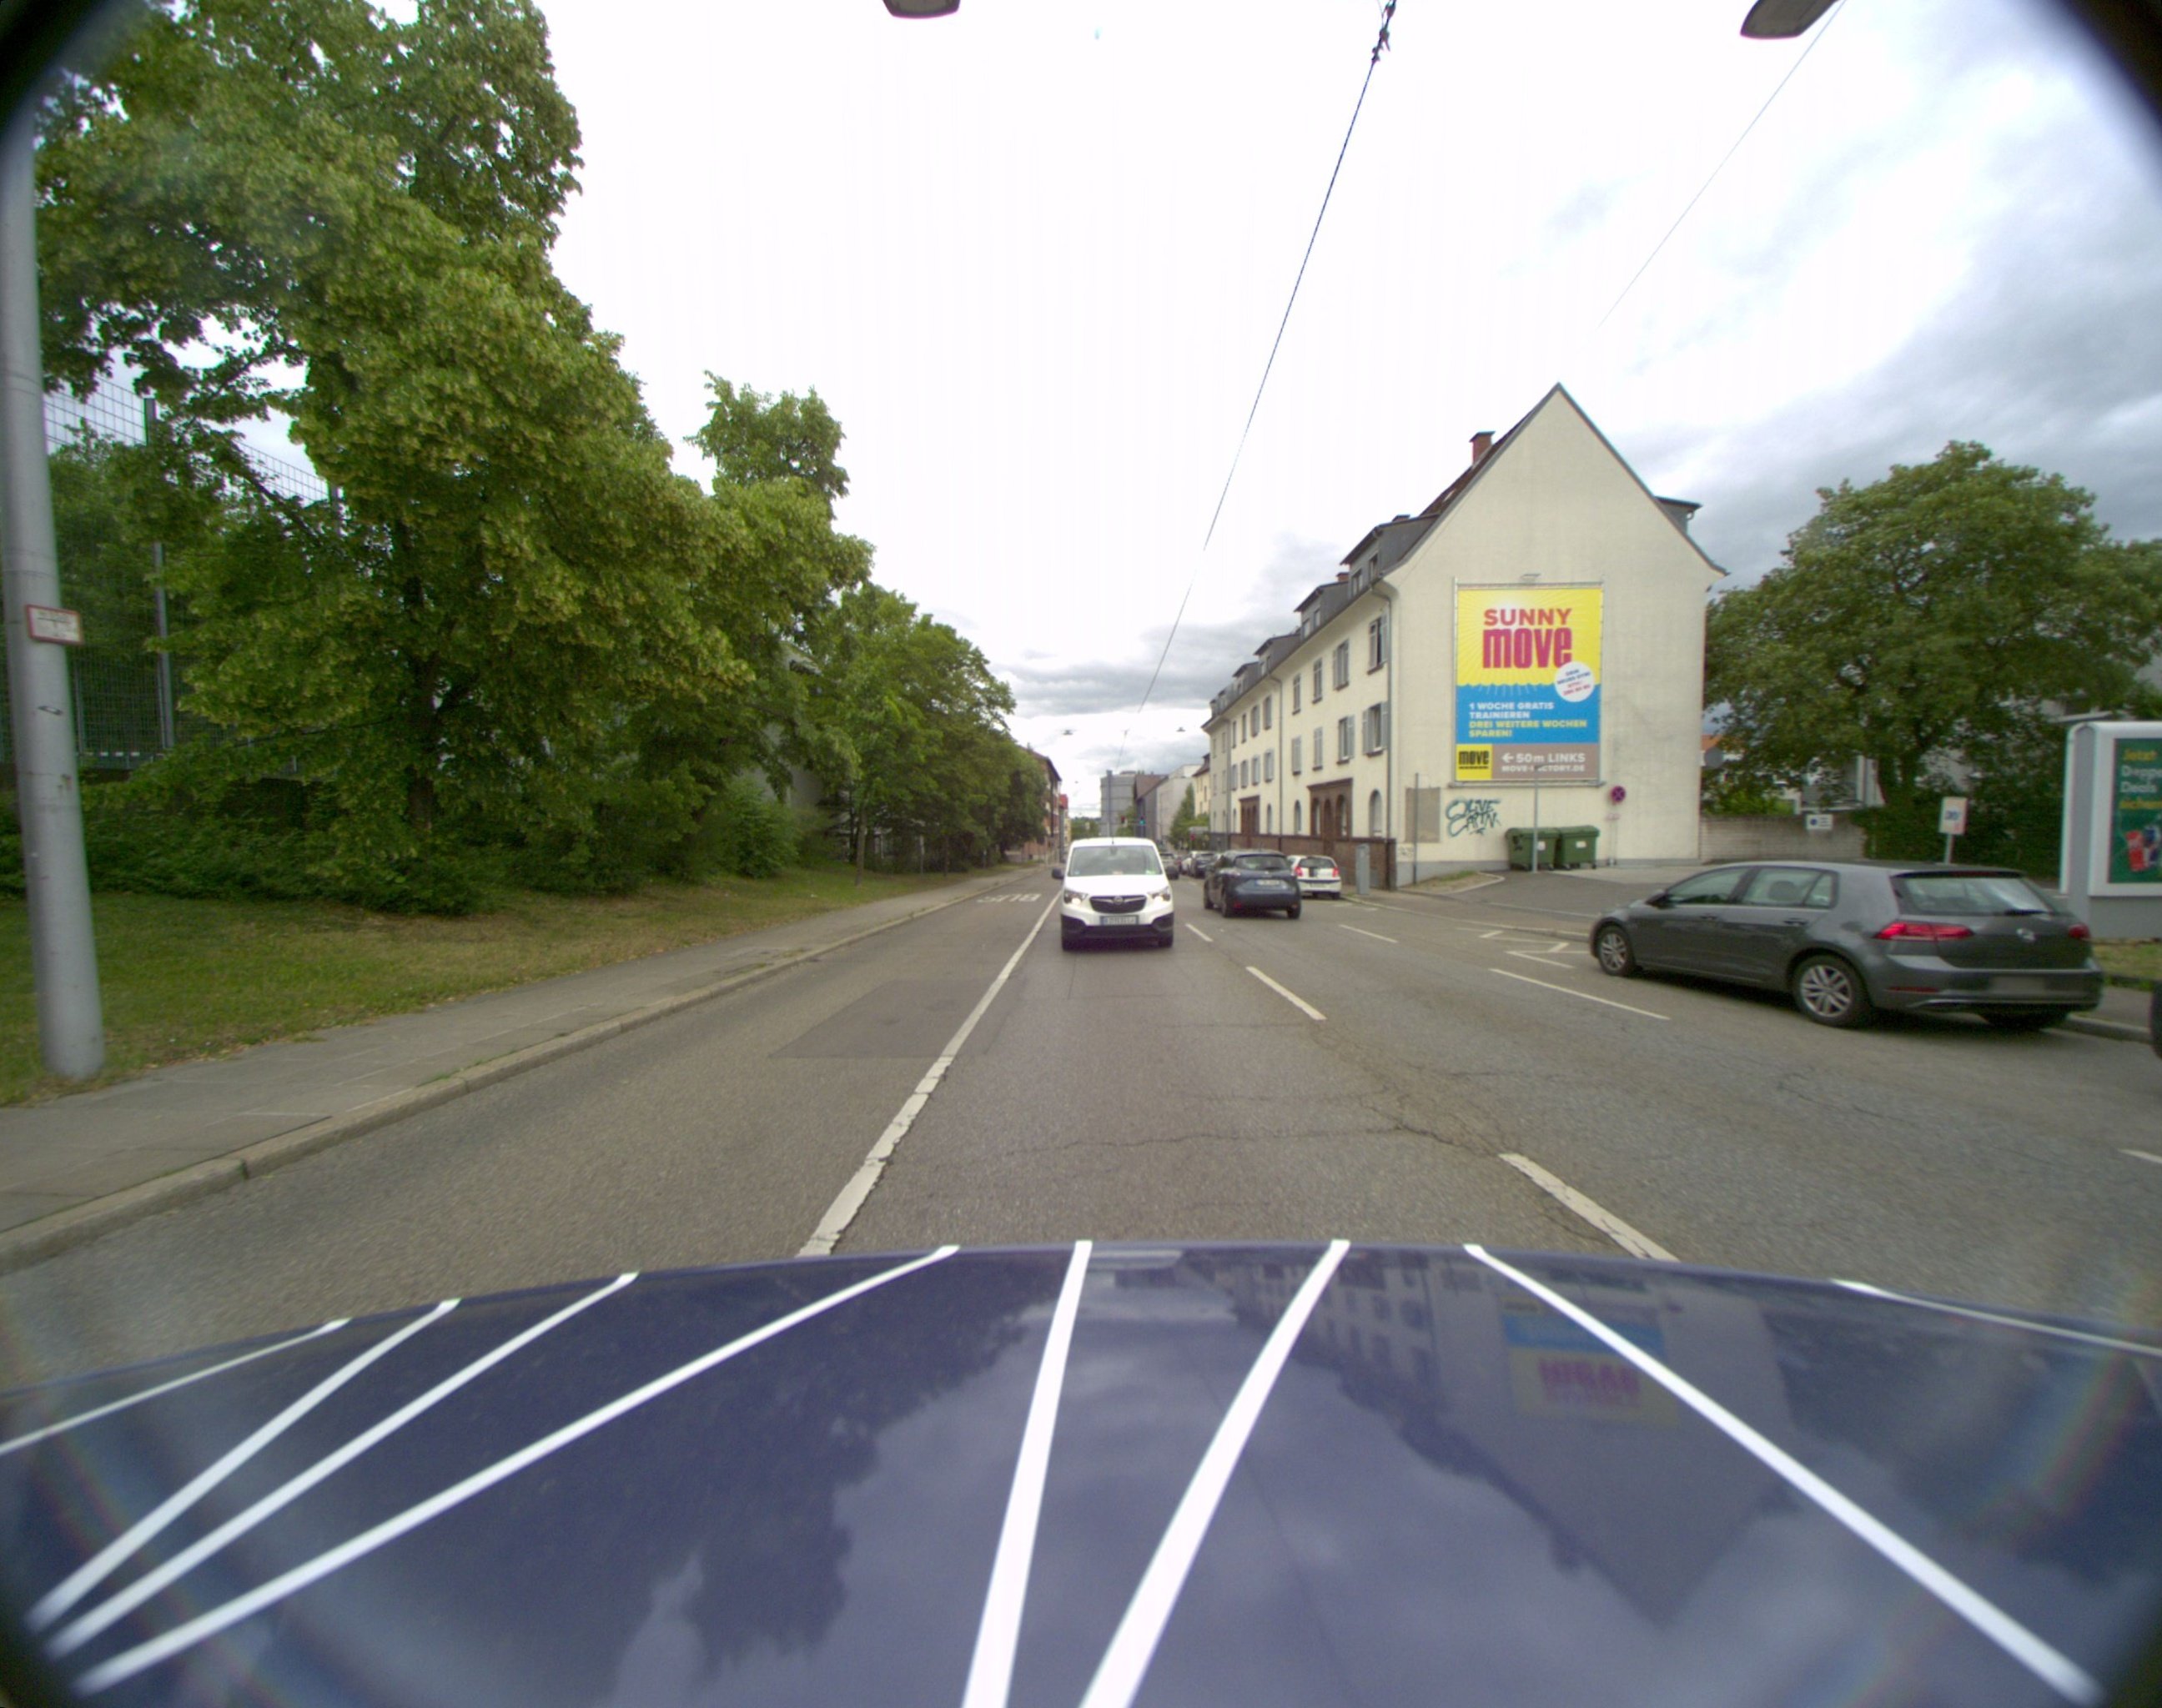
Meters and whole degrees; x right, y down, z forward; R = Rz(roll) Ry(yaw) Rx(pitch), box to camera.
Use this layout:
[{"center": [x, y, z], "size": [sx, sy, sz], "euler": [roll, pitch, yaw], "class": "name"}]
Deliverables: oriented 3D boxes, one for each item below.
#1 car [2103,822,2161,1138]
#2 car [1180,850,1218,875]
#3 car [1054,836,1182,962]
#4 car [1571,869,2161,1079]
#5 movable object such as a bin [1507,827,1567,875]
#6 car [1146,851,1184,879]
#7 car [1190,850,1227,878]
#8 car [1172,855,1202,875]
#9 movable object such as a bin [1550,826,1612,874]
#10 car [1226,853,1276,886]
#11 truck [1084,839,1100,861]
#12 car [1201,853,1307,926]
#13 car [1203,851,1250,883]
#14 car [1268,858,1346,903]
[{"center": [7.215, 0.747, 2.297], "size": [1.856, 1.824, 4.701], "euler": [0, 0, -1], "class": "car"}, {"center": [7.869, 0.569, 51.136], "size": [1.850, 1.612, 4.643], "euler": [0, 0, 0], "class": "car"}, {"center": [0.593, 0.712, 13.396], "size": [1.850, 1.831, 4.285], "euler": [-1, -1, 1], "class": "car"}, {"center": [7.246, 0.932, 7.749], "size": [1.795, 1.441, 4.218], "euler": [1, 0, 1], "class": "car"}, {"center": [14.938, -0.093, 24.937], "size": [1.268, 1.529, 1.104], "euler": [1, 1, 1], "class": "movable object such as a bin"}, {"center": [4.763, 0.599, 43.643], "size": [1.802, 1.516, 4.000], "euler": [1, 0, 1], "class": "car"}, {"center": [7.580, 0.585, 45.537], "size": [1.731, 1.590, 4.502], "euler": [0, 0, 3], "class": "car"}, {"center": [7.860, 0.803, 56.642], "size": [1.731, 1.421, 4.191], "euler": [0, 0, 1], "class": "car"}, {"center": [16.356, -0.121, 24.880], "size": [1.268, 1.529, 1.104], "euler": [1, 1, 1], "class": "movable object such as a bin"}, {"center": [7.882, 0.672, 35.522], "size": [1.551, 1.466, 3.604], "euler": [0, 0, 1], "class": "car"}, {"center": [1.891, -0.602, 125.448], "size": [2.545, 3.478, 8.521], "euler": [0, 0, 1], "class": "truck"}, {"center": [4.019, 0.770, 18.249], "size": [1.687, 1.546, 3.718], "euler": [0, 0, 0], "class": "car"}, {"center": [7.703, 0.657, 40.567], "size": [1.731, 1.549, 4.081], "euler": [2, 0, 0], "class": "car"}, {"center": [7.615, 0.854, 25.907], "size": [1.623, 1.417, 3.665], "euler": [0, 0, 1], "class": "car"}]
